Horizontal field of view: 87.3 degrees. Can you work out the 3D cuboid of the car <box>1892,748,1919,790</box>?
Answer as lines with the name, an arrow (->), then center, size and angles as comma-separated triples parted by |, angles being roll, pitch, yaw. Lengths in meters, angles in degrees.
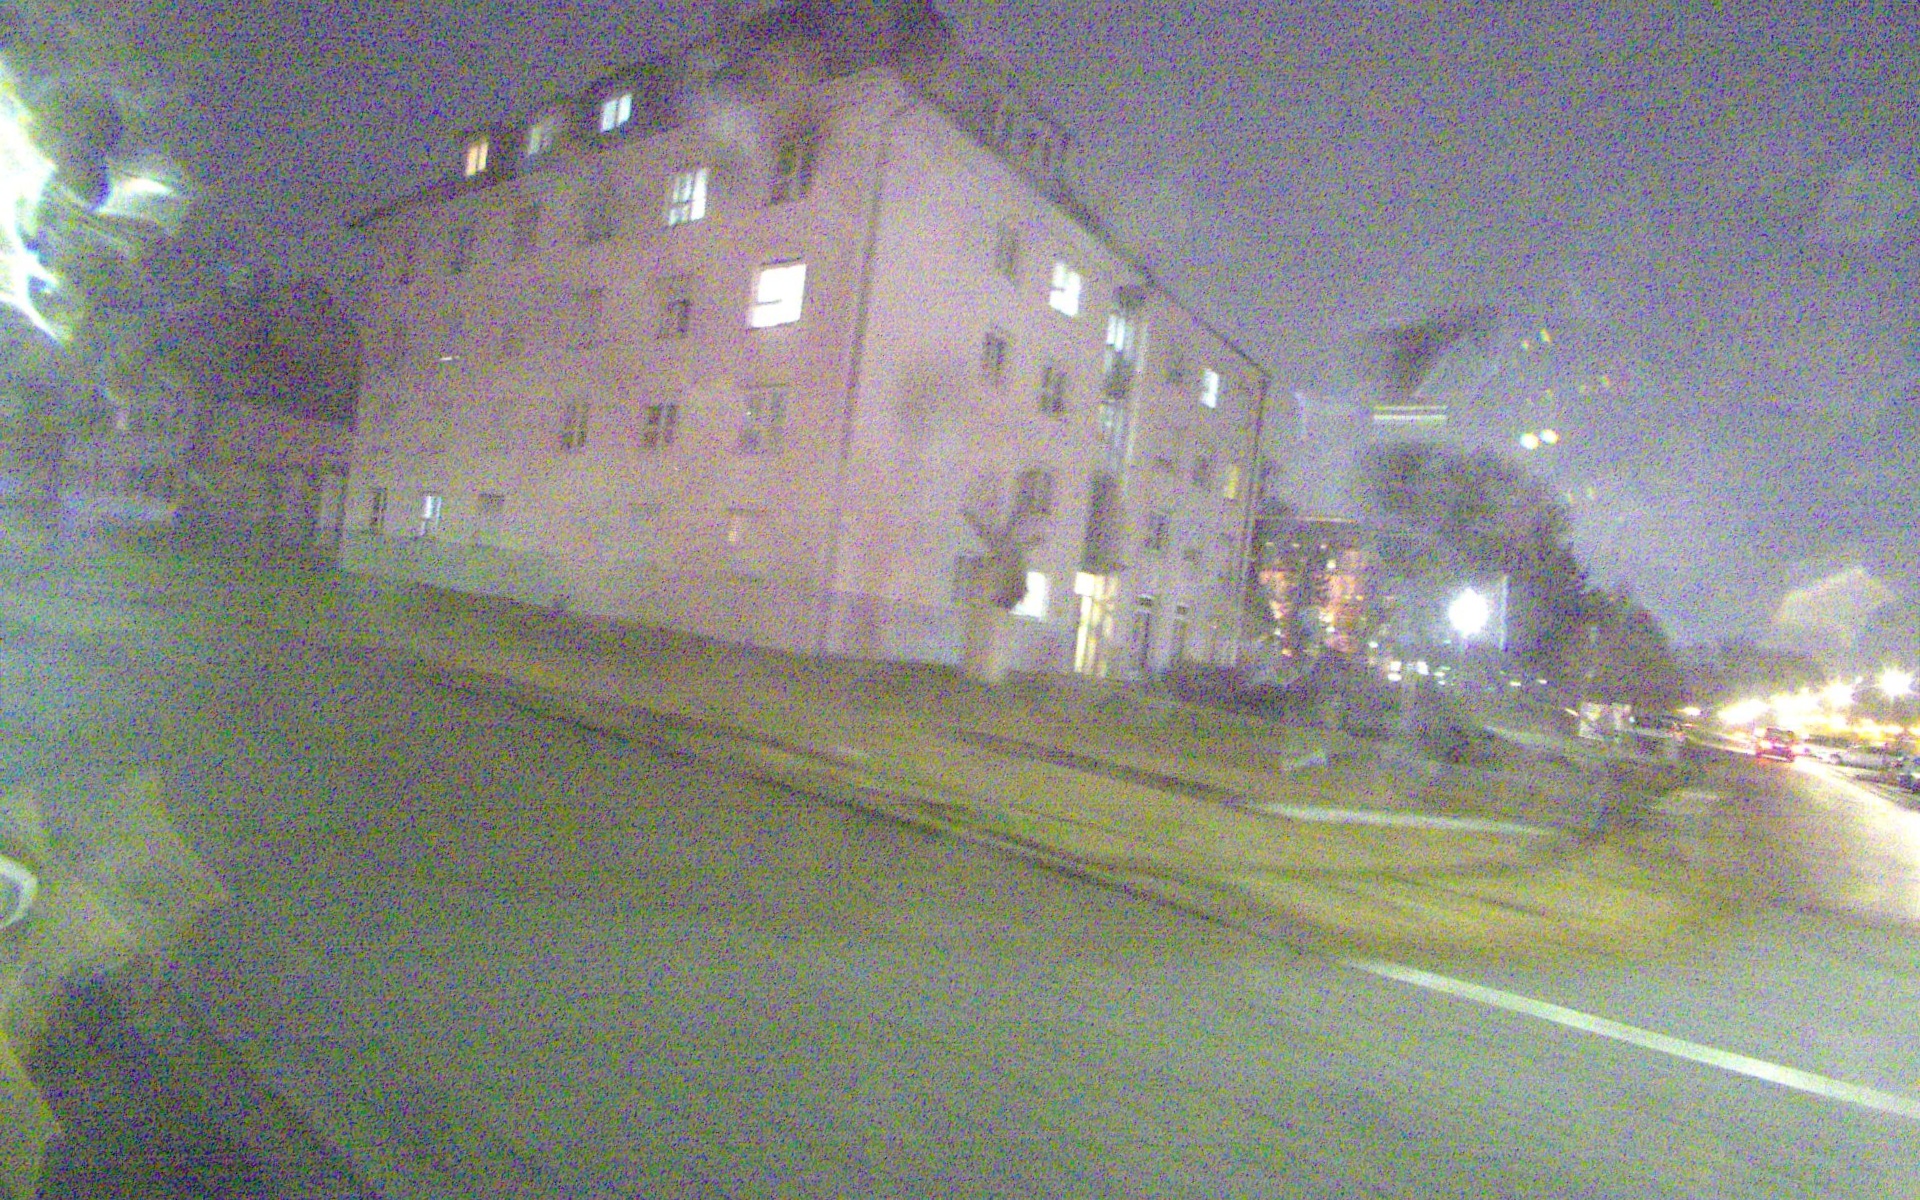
car -> 40.010, 7.018, 39.911 | 4.122, 1.517, 1.993 | 7, 0, 37

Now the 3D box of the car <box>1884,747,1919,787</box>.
car -> 43.227, 7.566, 43.879 | 4.127, 1.516, 1.991 | 7, -1, 42

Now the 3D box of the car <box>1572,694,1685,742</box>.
car -> 30.772, 5.407, 46.363 | 4.122, 1.517, 1.993 | 7, 0, 37

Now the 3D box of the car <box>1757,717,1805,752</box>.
car -> 49.019, 8.018, 60.134 | 1.970, 1.694, 3.986 | 7, -1, 39

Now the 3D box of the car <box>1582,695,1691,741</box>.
car -> 32.458, 5.626, 48.291 | 4.122, 1.517, 1.993 | 7, 0, 37

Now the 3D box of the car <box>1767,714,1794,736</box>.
car -> 88.914, 13.490, 109.075 | 1.970, 2.038, 3.987 | 7, -1, 38

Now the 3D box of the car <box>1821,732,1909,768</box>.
car -> 57.465, 9.508, 63.955 | 3.943, 1.504, 1.991 | 7, 0, 40
